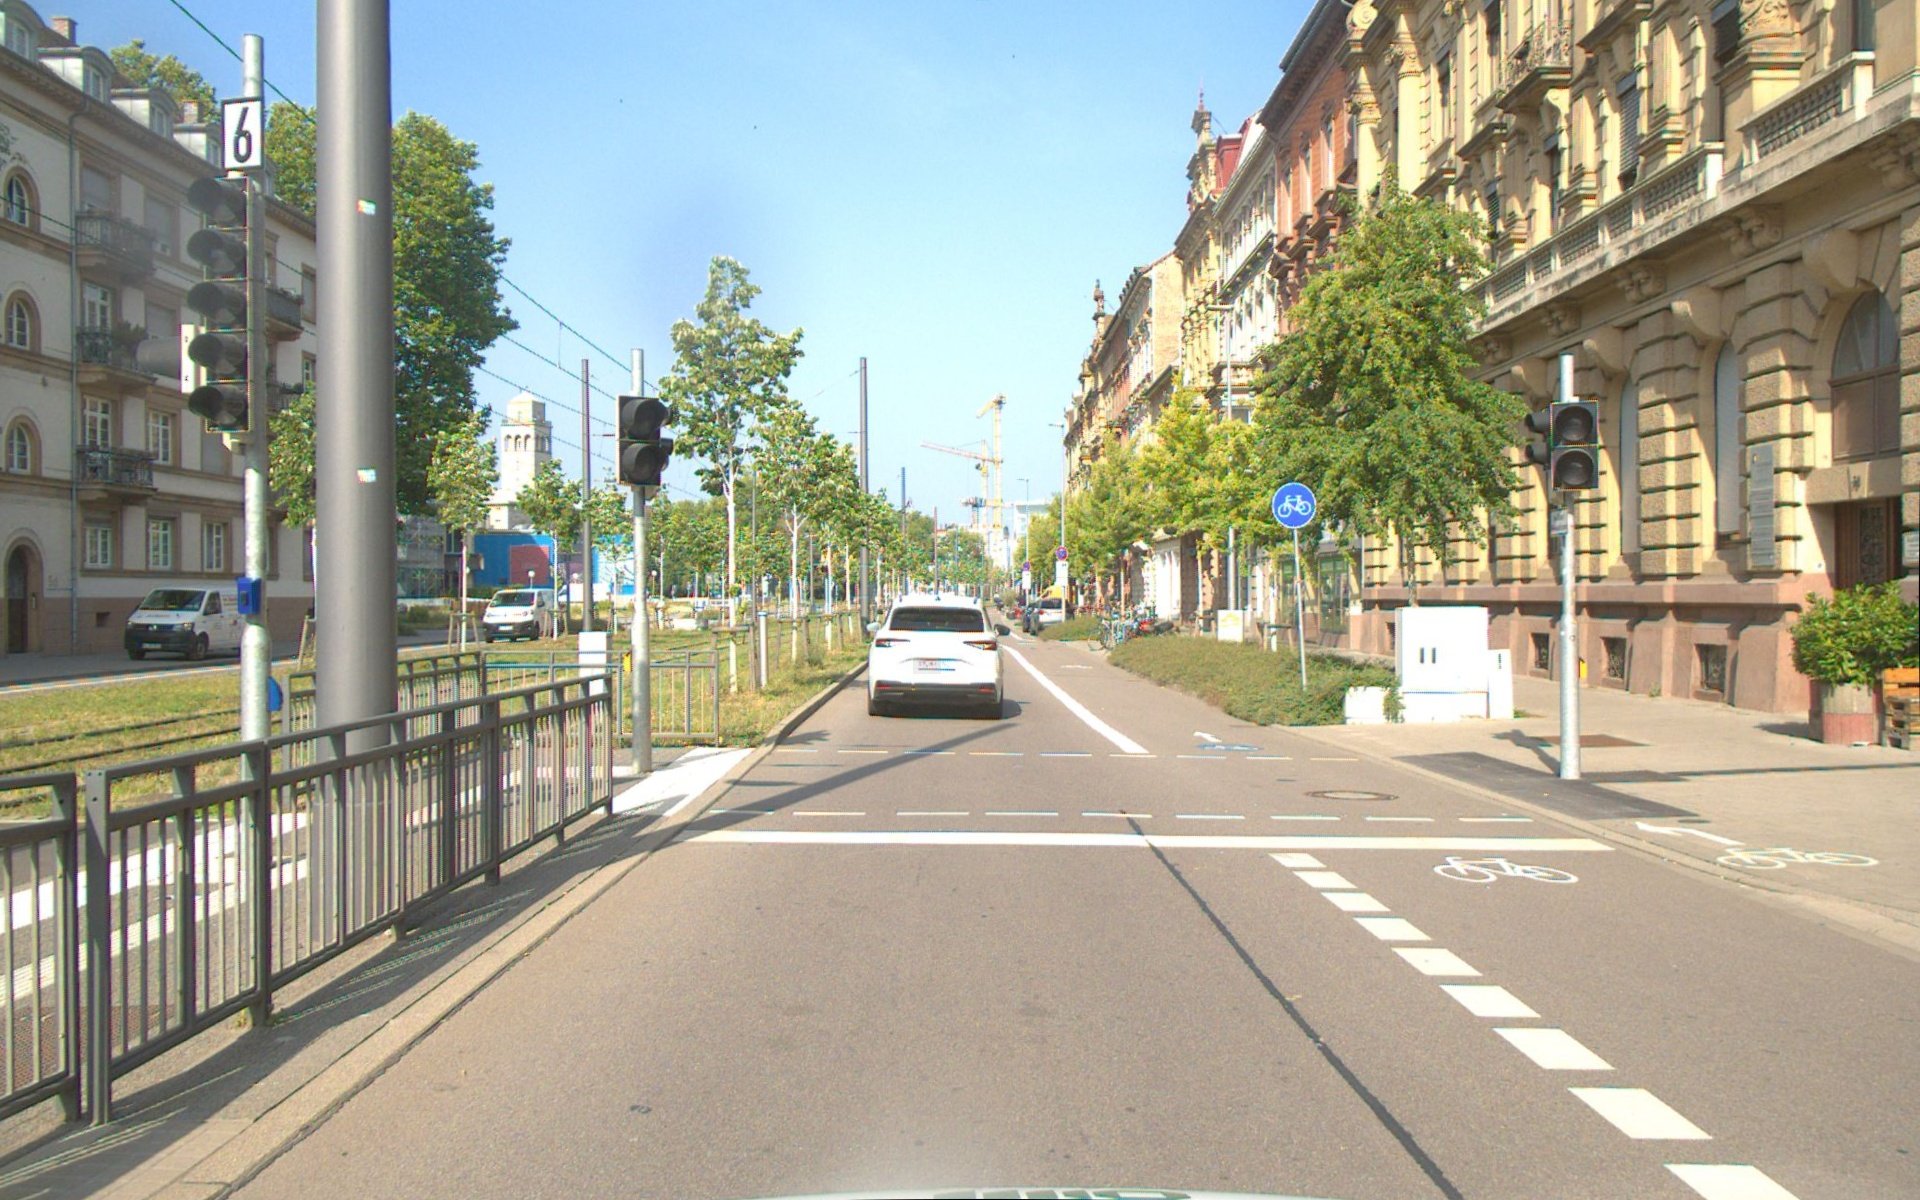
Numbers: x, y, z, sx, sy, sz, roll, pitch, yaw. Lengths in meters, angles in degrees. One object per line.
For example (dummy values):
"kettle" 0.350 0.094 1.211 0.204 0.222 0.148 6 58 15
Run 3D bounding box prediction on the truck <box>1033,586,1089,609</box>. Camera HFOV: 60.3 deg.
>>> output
"truck" 10.558 -0.283 172.850 5.747 2.358 2.221 0 0 3

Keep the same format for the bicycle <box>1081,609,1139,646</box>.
"bicycle" 4.678 0.856 51.591 1.749 1.072 0.372 -2 0 -2

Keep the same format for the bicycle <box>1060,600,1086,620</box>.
"bicycle" 6.359 0.582 93.178 0.447 1.101 1.867 -2 -2 41

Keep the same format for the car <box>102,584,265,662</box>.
"car" -21.061 0.581 45.148 1.953 1.951 5.153 1 0 0

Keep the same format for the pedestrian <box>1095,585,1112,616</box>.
"pedestrian" 8.217 0.014 94.615 0.807 1.726 0.792 -2 0 -4

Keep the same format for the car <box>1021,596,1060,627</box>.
"car" 3.889 0.537 80.455 1.700 1.420 4.715 -2 0 1

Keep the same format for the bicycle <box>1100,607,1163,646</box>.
"bicycle" 5.174 0.798 49.983 1.772 1.115 0.671 -2 0 -6

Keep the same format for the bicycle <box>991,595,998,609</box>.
"bicycle" 3.900 0.187 184.613 0.765 1.522 2.801 0 0 1

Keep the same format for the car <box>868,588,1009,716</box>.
"car" -0.276 0.651 23.246 1.780 1.617 4.406 0 0 0

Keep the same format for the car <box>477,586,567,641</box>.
"car" -16.174 0.479 61.325 1.952 1.928 5.046 -1 0 0

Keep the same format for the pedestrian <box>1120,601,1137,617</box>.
"pedestrian" 9.737 0.512 95.791 0.860 0.892 0.710 -2 0 -4

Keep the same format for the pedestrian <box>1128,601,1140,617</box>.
"pedestrian" 9.894 0.512 94.096 0.559 0.869 0.457 -3 0 -6

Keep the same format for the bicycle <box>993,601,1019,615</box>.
"bicycle" 4.047 0.711 145.022 2.193 1.123 0.588 -2 0 1

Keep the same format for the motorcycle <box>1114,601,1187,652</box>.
"motorcycle" 5.280 0.719 45.829 2.016 1.309 0.697 -3 1 -33

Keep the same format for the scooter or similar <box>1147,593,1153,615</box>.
"scooter or similar" 9.892 0.192 86.261 0.282 1.154 1.089 0 0 5

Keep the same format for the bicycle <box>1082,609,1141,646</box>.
"bicycle" 4.677 0.854 51.173 1.749 1.072 0.372 -2 0 -2

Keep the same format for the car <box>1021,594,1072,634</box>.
"car" 3.777 0.587 72.713 1.734 1.616 4.245 -2 0 -4

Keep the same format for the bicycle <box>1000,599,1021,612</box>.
"bicycle" 4.461 0.488 146.244 1.894 1.003 0.471 -2 0 1

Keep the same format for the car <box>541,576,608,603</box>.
"car" -41.890 -1.102 179.592 6.776 2.685 2.498 2 -1 -21
